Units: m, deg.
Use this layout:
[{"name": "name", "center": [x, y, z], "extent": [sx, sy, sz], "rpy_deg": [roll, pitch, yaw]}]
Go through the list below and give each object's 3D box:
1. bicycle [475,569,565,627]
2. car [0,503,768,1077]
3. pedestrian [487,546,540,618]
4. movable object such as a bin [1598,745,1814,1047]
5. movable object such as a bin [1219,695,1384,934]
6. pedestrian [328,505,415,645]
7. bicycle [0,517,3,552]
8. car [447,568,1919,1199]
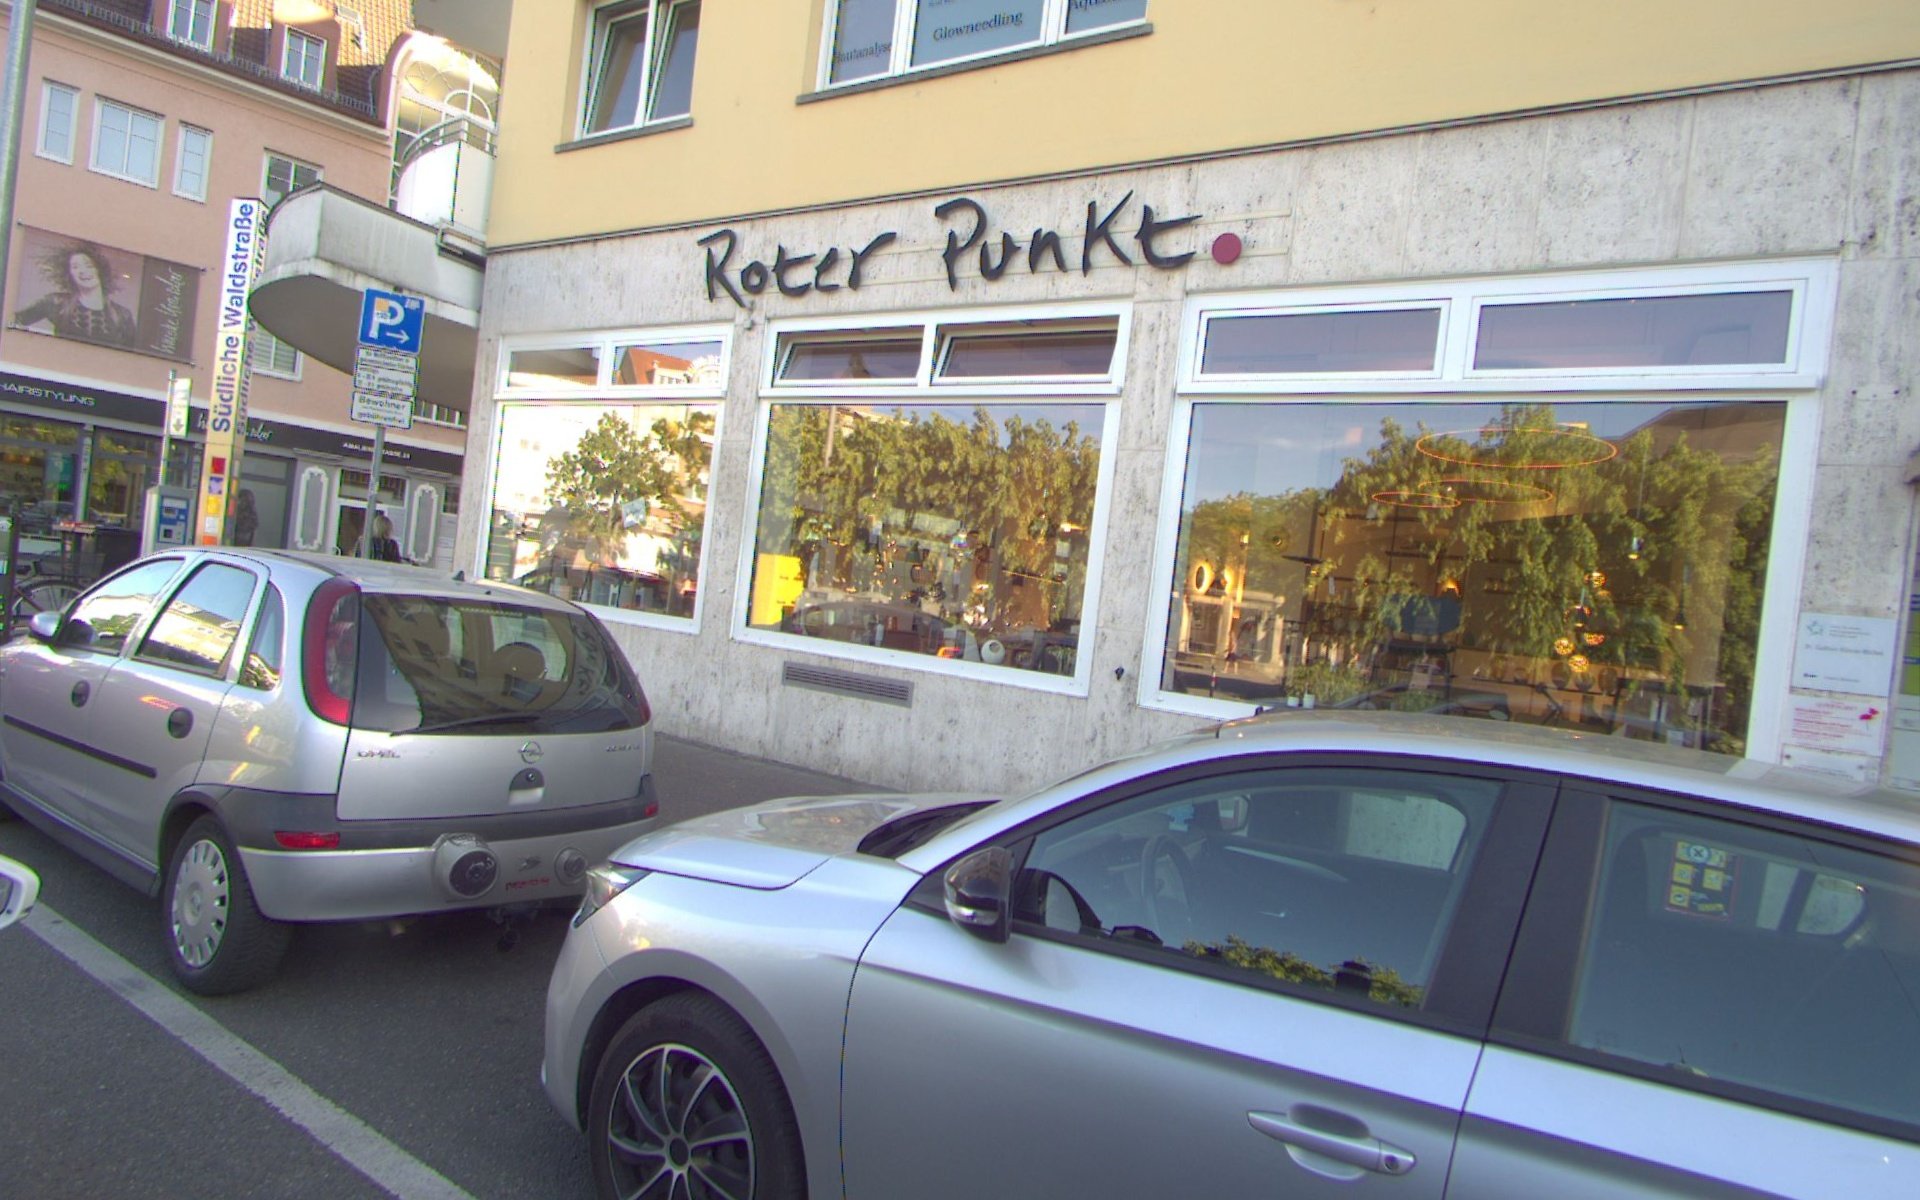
[{"name": "bicycle", "center": [-9.631, -0.037, 22.078], "extent": [0.583, 1.057, 1.612], "rpy_deg": [6, -2, 44]}, {"name": "car", "center": [-2.882, 0.461, 4.407], "extent": [3.822, 1.411, 1.624], "rpy_deg": [7, -1, 33]}, {"name": "pedestrian", "center": [-9.736, -0.389, 21.944], "extent": [0.741, 1.457, 0.575], "rpy_deg": [8, -1, -45]}, {"name": "movable object such as a bin", "center": [3.335, 1.278, 4.565], "extent": [0.609, 1.082, 0.703], "rpy_deg": [7, 3, 31]}, {"name": "movable object such as a bin", "center": [1.868, 1.119, 5.478], "extent": [0.609, 1.082, 0.703], "rpy_deg": [7, 3, 31]}, {"name": "pedestrian", "center": [-7.350, -0.304, 12.595], "extent": [0.653, 1.654, 0.626], "rpy_deg": [5, 2, -8]}, {"name": "bicycle", "center": [-9.307, -0.224, 8.520], "extent": [0.425, 1.175, 1.629], "rpy_deg": [7, 1, 30]}, {"name": "car", "center": [0.958, 0.910, 2.205], "extent": [4.008, 1.444, 1.674], "rpy_deg": [7, -1, 30]}]
